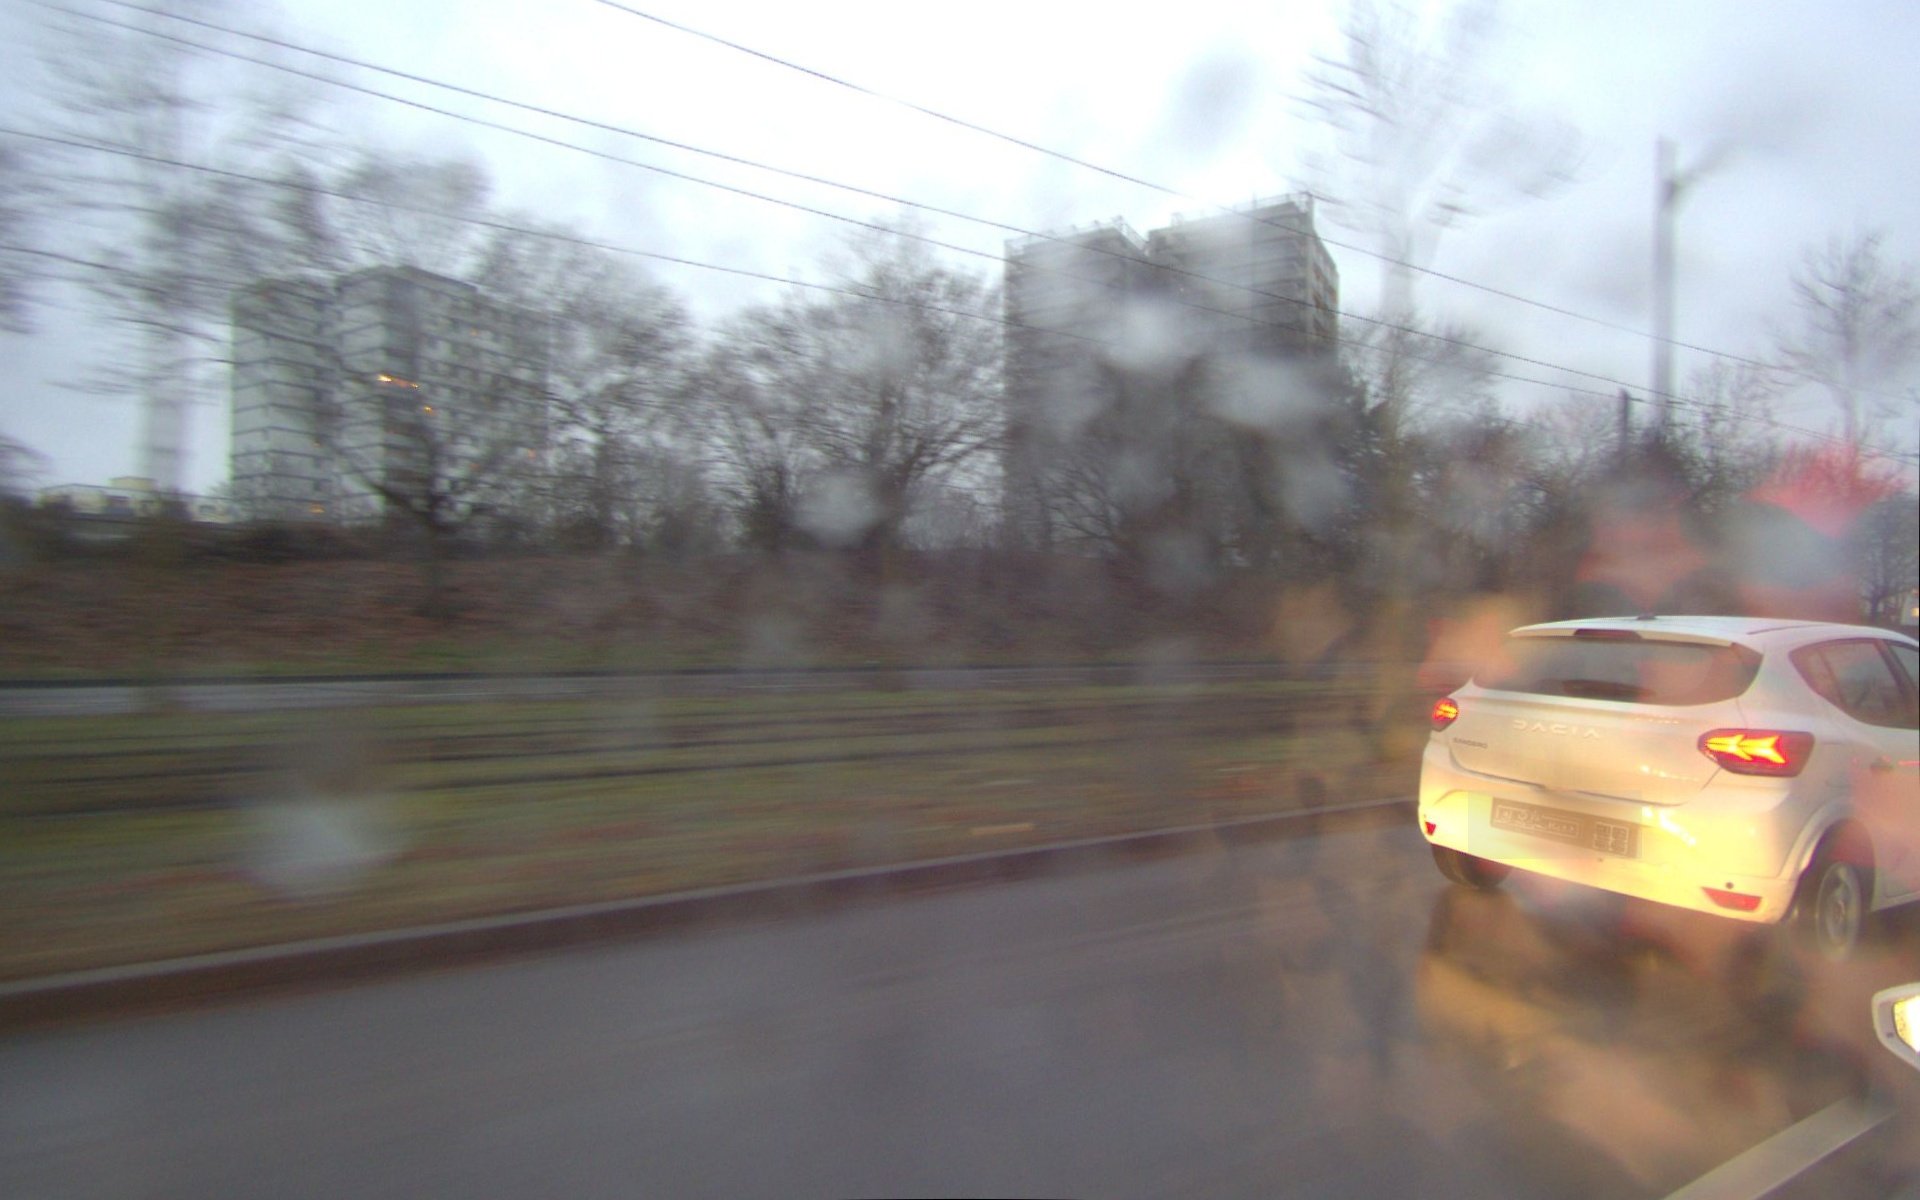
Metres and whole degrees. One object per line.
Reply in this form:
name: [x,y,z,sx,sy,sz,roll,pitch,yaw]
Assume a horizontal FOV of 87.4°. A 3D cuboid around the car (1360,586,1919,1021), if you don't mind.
car: [4.204,0.774,5.326,4.085,1.545,1.701,1,-1,-29]
